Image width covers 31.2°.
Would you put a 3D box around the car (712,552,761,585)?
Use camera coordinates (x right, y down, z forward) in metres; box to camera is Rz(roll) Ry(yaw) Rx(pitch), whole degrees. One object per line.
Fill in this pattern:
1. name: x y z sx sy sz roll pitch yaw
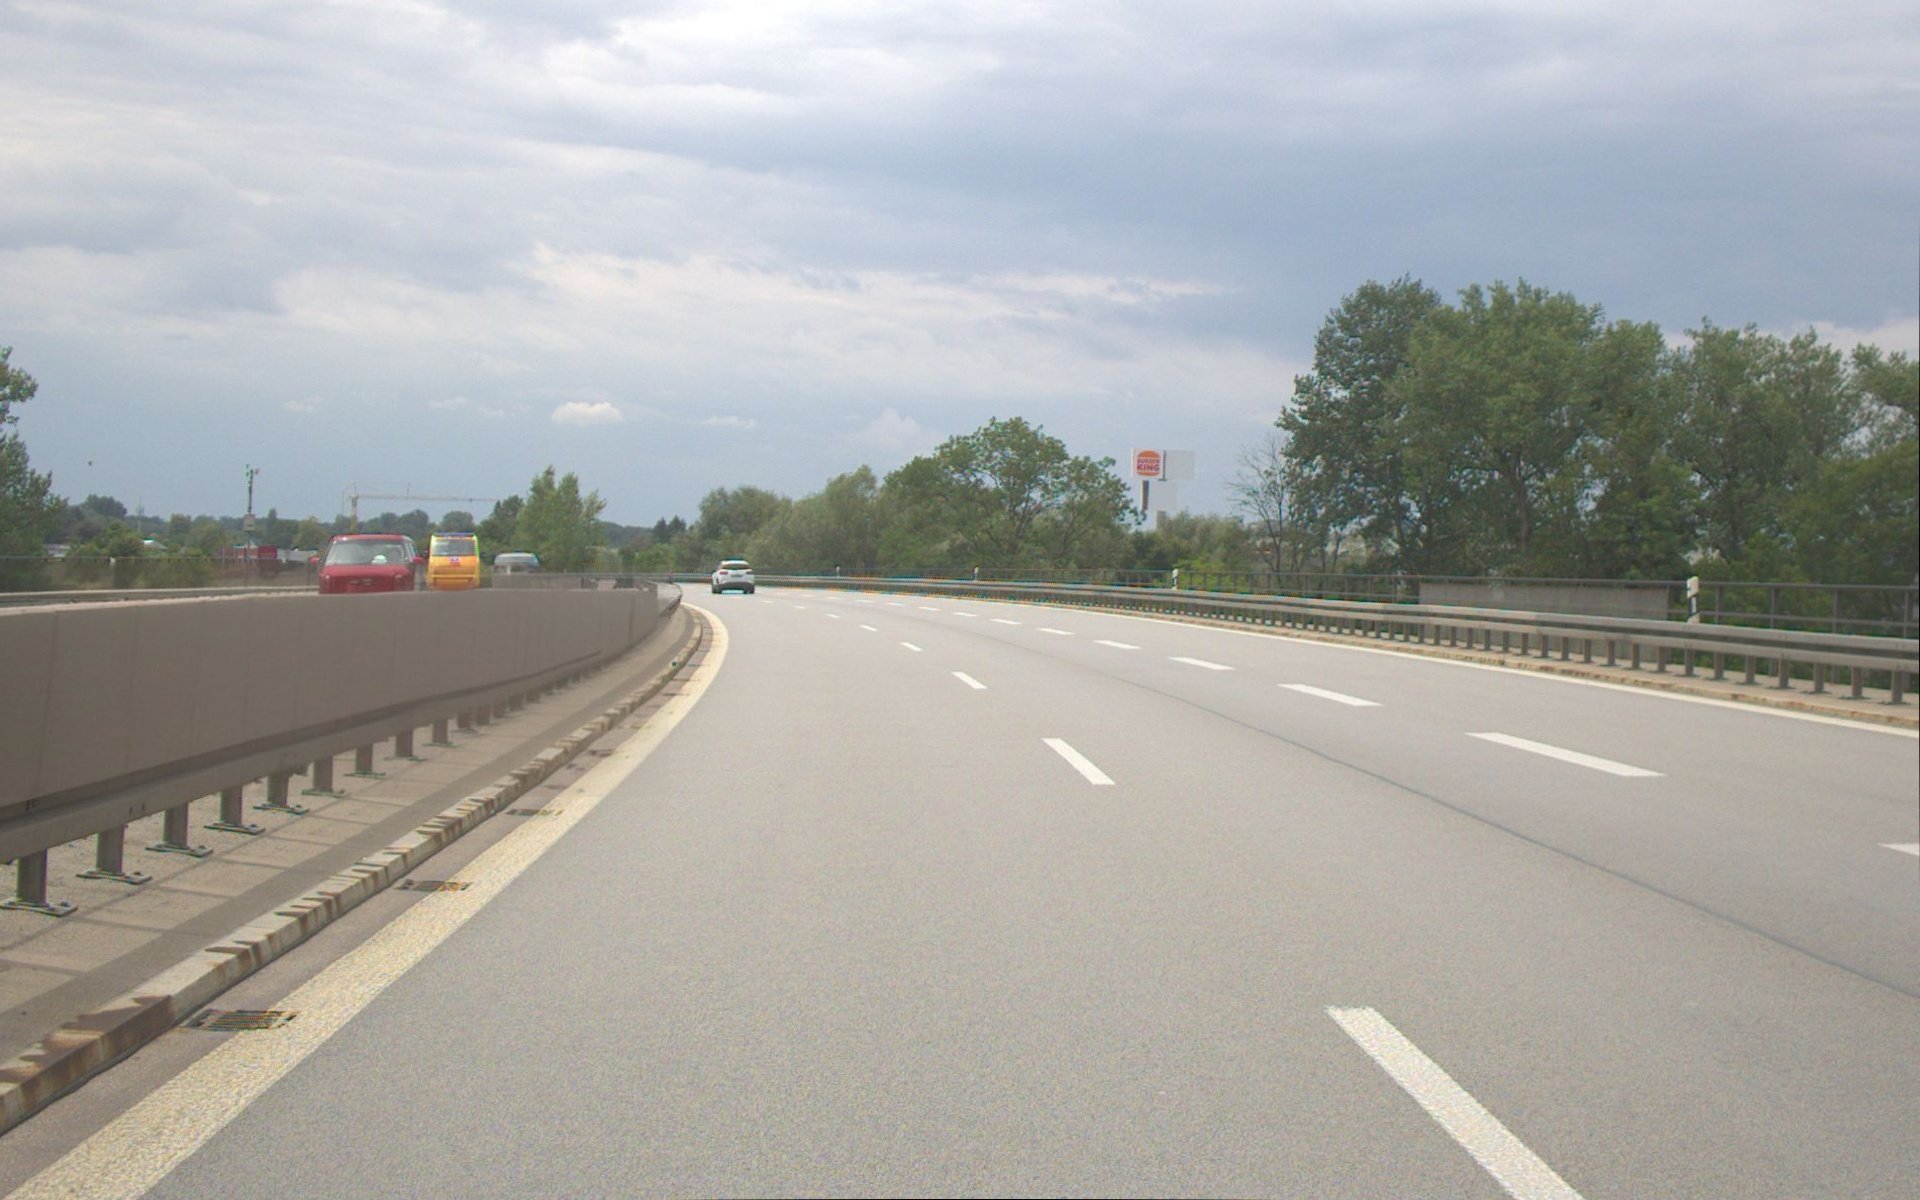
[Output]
1. car: -11.223 -1.583 172.559 1.902 1.634 4.397 1 0 -11

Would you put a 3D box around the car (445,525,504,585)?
1. car: -19.371 -1.801 137.384 1.993 2.285 6.399 1 1 -5

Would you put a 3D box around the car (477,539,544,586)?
1. car: -14.678 -1.221 112.514 1.728 1.401 4.250 3 1 -2

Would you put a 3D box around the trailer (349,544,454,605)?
1. trailer: -10.484 -0.493 64.746 1.559 1.121 3.451 0 1 -3

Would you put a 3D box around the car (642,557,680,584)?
1. car: -18.850 -1.841 216.706 1.892 1.634 4.623 1 1 -11

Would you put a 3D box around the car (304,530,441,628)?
1. car: -10.329 -0.388 60.723 1.812 1.635 4.569 1 1 -3
